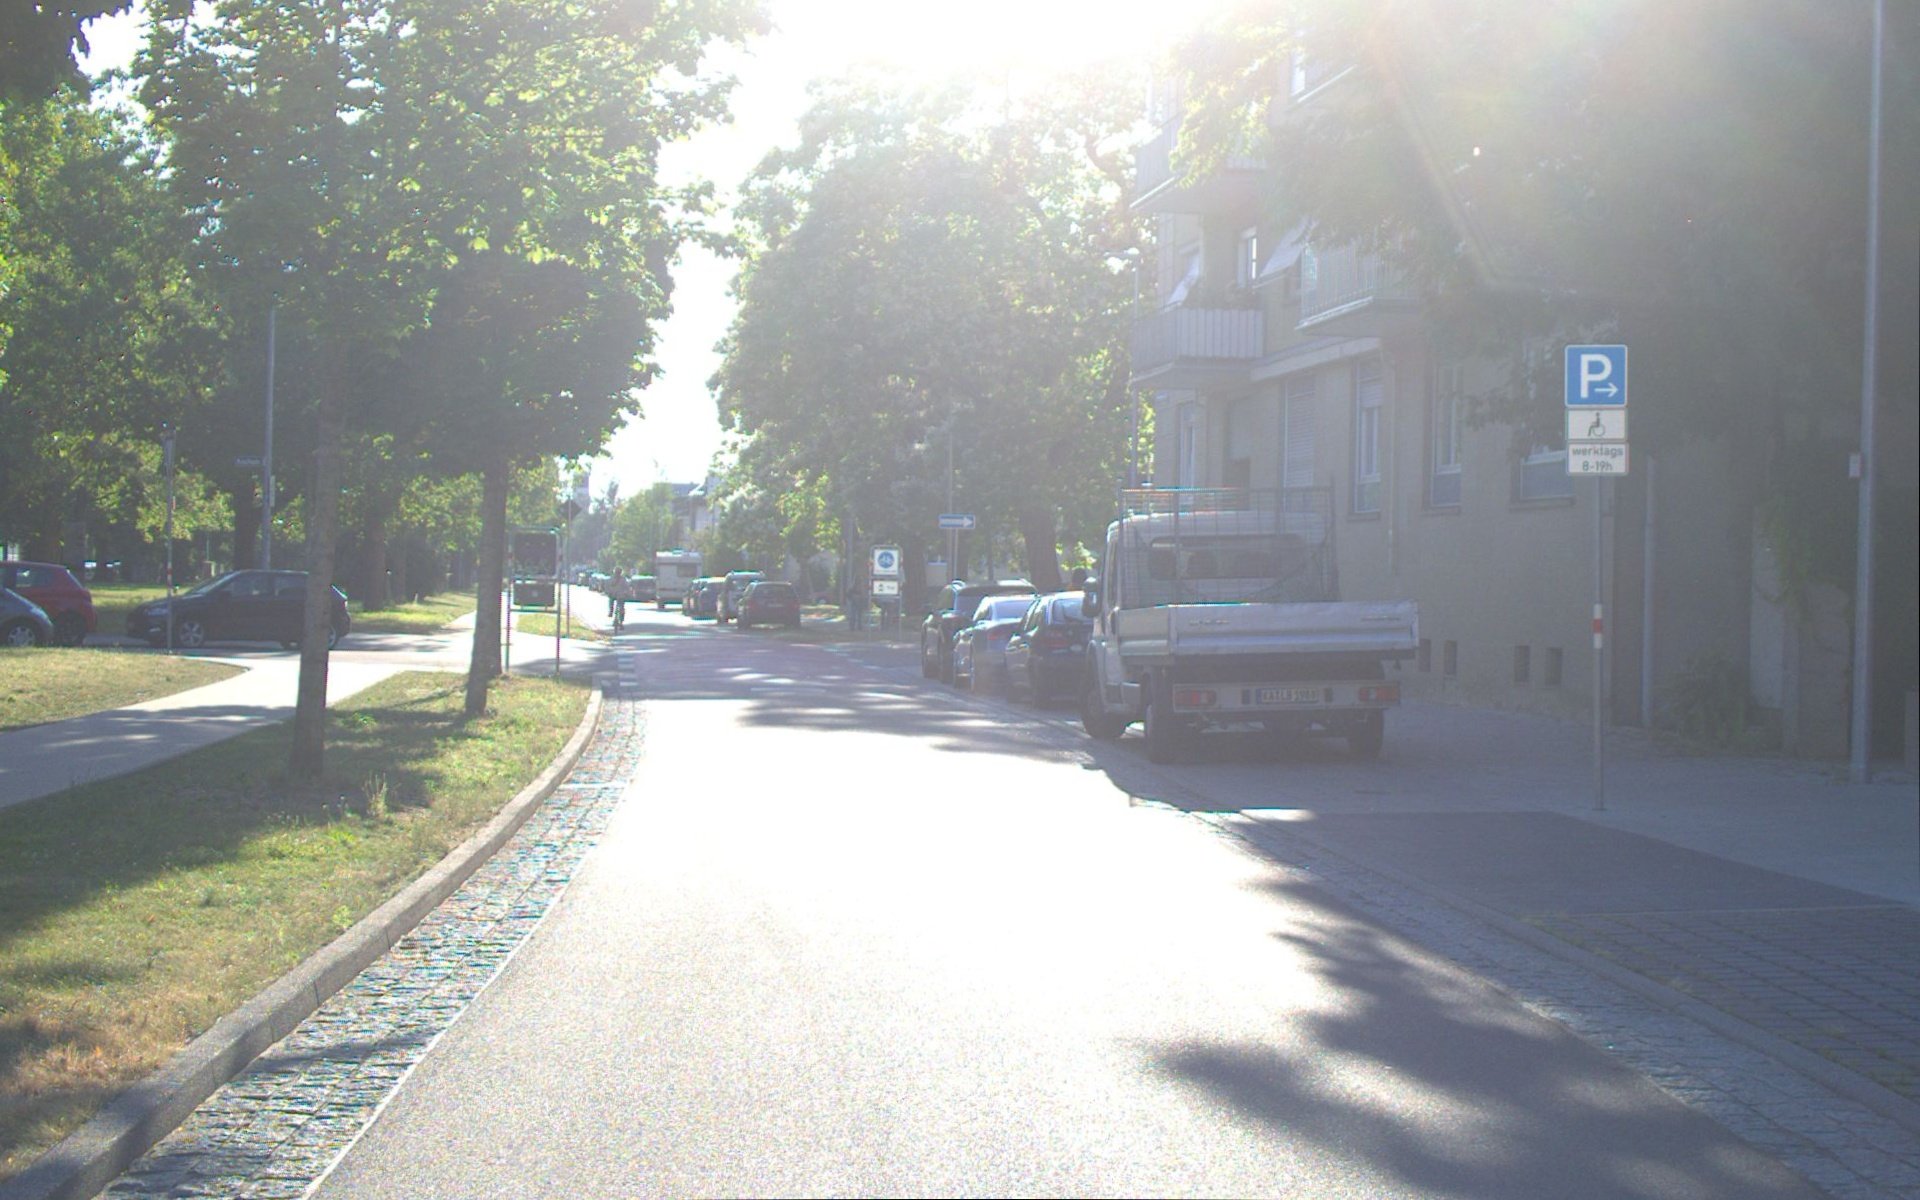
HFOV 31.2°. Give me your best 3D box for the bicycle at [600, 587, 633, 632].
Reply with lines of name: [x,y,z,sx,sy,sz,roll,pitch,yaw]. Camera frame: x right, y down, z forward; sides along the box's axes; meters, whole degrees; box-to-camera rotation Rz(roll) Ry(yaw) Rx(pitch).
bicycle: [-9.319,0.258,93.314,0.688,1.198,2.343,3,0,-2]

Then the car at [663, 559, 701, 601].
car: [-13.931,-0.992,172.242,1.793,1.992,4.000,3,0,-4]

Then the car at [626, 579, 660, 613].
car: [-19.692,-0.268,213.625,1.993,1.963,4.001,3,0,-5]

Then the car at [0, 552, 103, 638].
car: [-17.163,-0.136,60.026,3.912,1.415,1.772,3,0,-28]

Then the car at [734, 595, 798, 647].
car: [-5.976,0.640,106.153,1.793,1.505,4.000,3,0,-2]

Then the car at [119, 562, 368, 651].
car: [-12.917,0.121,62.017,3.986,1.415,1.772,3,0,-32]

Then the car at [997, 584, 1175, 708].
car: [1.517,0.539,42.485,1.690,1.436,3.551,1,0,-6]

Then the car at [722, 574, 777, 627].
car: [-7.389,0.019,120.268,1.793,1.719,4.000,3,0,-4]

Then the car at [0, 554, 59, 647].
car: [-16.321,-0.062,53.644,3.986,1.415,1.772,3,0,-31]

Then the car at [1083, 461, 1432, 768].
car: [2.559,0.120,31.348,2.211,2.521,6.148,0,0,-4]

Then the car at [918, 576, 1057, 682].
car: [0.394,0.440,53.798,1.690,1.560,4.105,1,0,-6]

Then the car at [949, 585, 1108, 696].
car: [0.909,0.538,47.915,1.690,1.436,4.105,1,0,-6]

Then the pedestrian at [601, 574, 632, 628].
pedestrian: [-9.314,0.022,93.284,0.688,1.429,1.024,3,0,-2]
